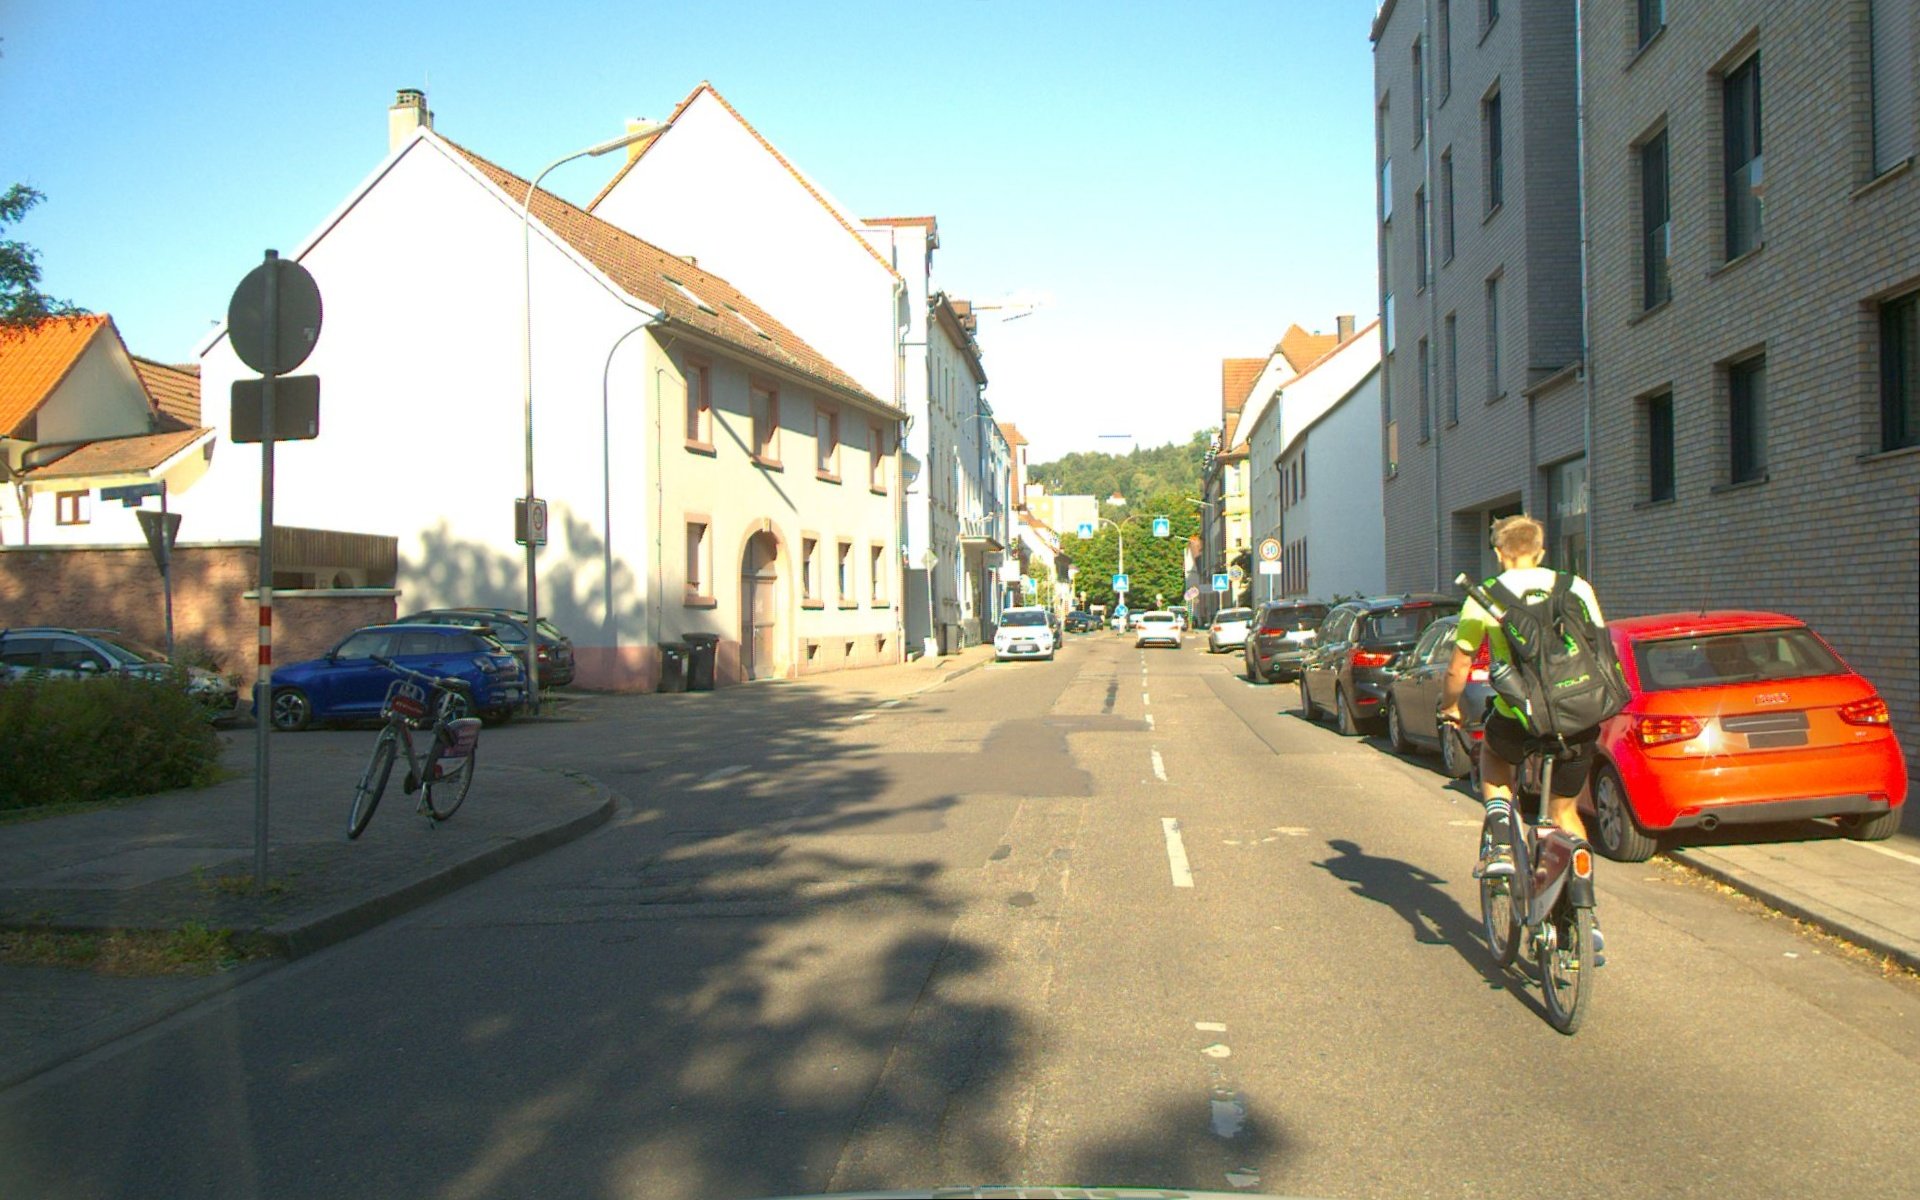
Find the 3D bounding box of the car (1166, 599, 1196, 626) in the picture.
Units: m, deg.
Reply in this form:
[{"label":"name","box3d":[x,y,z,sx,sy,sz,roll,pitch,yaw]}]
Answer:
[{"label":"car","box3d":[16.185,0.905,121.417,1.968,1.885,4.003,0,1,5]}]

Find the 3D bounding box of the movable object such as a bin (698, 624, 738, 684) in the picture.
[{"label":"movable object such as a bin","box3d":[-4.578,1.008,31.342,0.586,1.113,0.752,0,0,6]}]

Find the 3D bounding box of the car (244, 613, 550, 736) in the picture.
[{"label":"car","box3d":[-8.168,1.063,24.214,3.688,1.556,2.002,-2,0,6]}]

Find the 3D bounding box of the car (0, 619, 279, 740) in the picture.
[{"label":"car","box3d":[-12.581,1.177,24.703,3.903,1.526,2.002,-3,1,6]}]

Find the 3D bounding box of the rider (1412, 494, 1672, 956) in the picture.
[{"label":"rider","box3d":[2.182,0.444,6.322,0.640,1.589,1.083,2,-1,4]}]

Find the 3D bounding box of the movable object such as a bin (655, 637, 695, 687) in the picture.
[{"label":"movable object such as a bin","box3d":[-5.265,1.142,30.561,0.586,0.887,0.606,-1,0,3]}]

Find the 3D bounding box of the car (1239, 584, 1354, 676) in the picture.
[{"label":"car","box3d":[6.901,0.563,34.300,1.815,1.664,4.626,-4,0,6]}]

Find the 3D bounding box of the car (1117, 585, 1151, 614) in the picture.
[{"label":"car","box3d":[12.921,-0.045,123.092,1.953,2.049,3.999,-2,0,-2]}]

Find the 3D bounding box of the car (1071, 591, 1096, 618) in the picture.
[{"label":"car","box3d":[9.604,0.357,128.684,1.951,2.049,4.002,-1,0,4]}]

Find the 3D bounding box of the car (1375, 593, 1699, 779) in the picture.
[{"label":"car","box3d":[5.471,0.728,16.322,1.951,1.532,4.369,-1,0,5]}]

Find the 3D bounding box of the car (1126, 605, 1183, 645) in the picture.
[{"label":"car","box3d":[7.624,0.960,65.109,1.952,1.492,4.002,-1,0,4]}]

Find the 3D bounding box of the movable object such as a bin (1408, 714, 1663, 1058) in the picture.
[{"label":"movable object such as a bin","box3d":[2.182,1.022,6.473,0.445,1.051,1.841,2,-1,4]}]

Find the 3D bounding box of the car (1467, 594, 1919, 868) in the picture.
[{"label":"car","box3d":[4.861,0.747,11.432,1.677,1.428,4.075,-5,0,5]}]

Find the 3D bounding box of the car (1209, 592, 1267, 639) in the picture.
[{"label":"car","box3d":[9.622,0.517,57.551,1.704,1.518,4.442,-3,0,7]}]

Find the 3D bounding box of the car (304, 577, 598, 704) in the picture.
[{"label":"car","box3d":[-8.535,0.640,27.949,4.271,1.825,1.990,2,3,7]}]

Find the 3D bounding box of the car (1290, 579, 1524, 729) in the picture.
[{"label":"car","box3d":[5.619,0.596,21.442,1.952,1.682,4.765,-1,1,3]}]

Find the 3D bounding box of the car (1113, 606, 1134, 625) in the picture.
[{"label":"car","box3d":[16.727,1.591,169.222,1.770,1.731,4.193,-3,0,2]}]

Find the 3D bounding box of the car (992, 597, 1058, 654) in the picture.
[{"label":"car","box3d":[2.091,0.747,52.147,1.952,1.676,5.224,-1,0,3]}]

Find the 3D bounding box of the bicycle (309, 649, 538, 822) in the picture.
[{"label":"bicycle","box3d":[-3.605,0.873,11.304,0.688,1.020,1.943,0,0,9]}]

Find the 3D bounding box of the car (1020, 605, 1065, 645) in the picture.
[{"label":"car","box3d":[3.467,1.015,68.640,1.694,1.525,3.962,-2,1,5]}]
